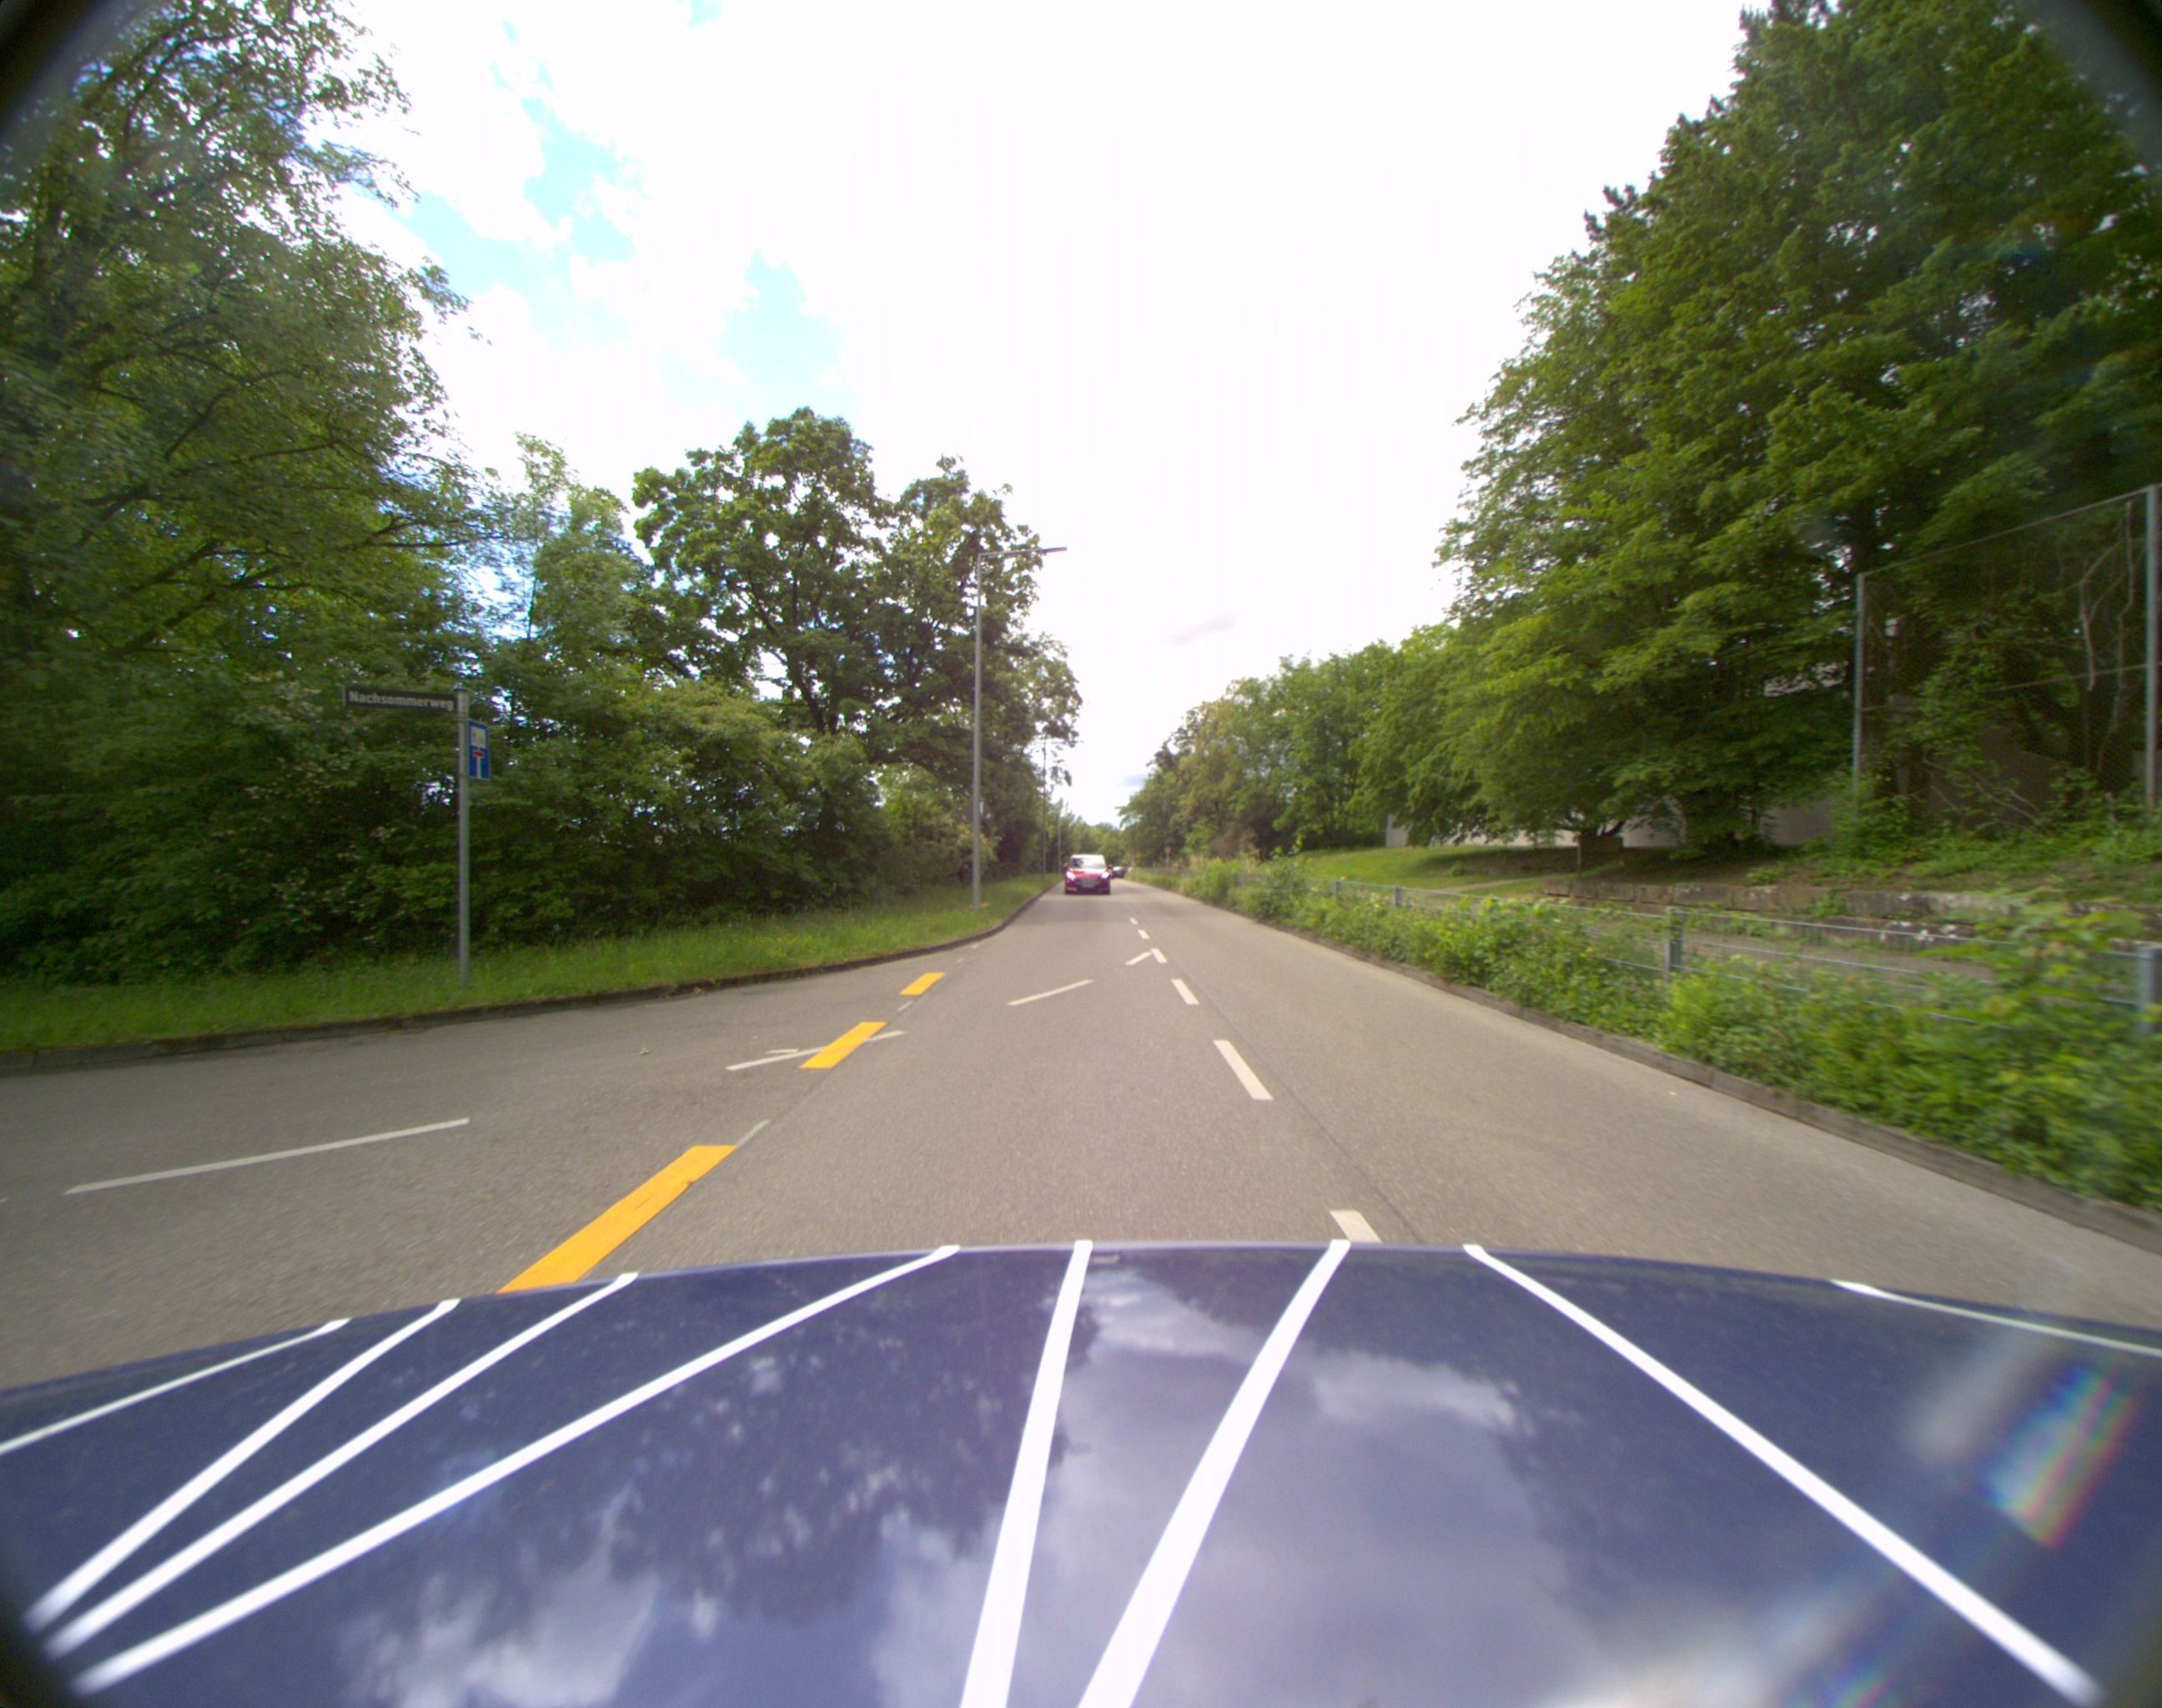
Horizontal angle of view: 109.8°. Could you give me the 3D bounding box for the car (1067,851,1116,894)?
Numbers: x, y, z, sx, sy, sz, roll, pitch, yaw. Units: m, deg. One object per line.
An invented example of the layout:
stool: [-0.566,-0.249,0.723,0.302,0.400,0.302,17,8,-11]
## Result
car: [0.468,0.711,31.654,1.861,1.608,4.476,-2,0,2]

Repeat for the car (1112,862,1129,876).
car: [4.147,1.573,80.448,1.620,1.324,4.000,0,0,1]

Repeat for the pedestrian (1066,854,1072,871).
pedestrian: [-1.311,0.950,81.590,0.675,1.825,0.605,0,1,-4]
